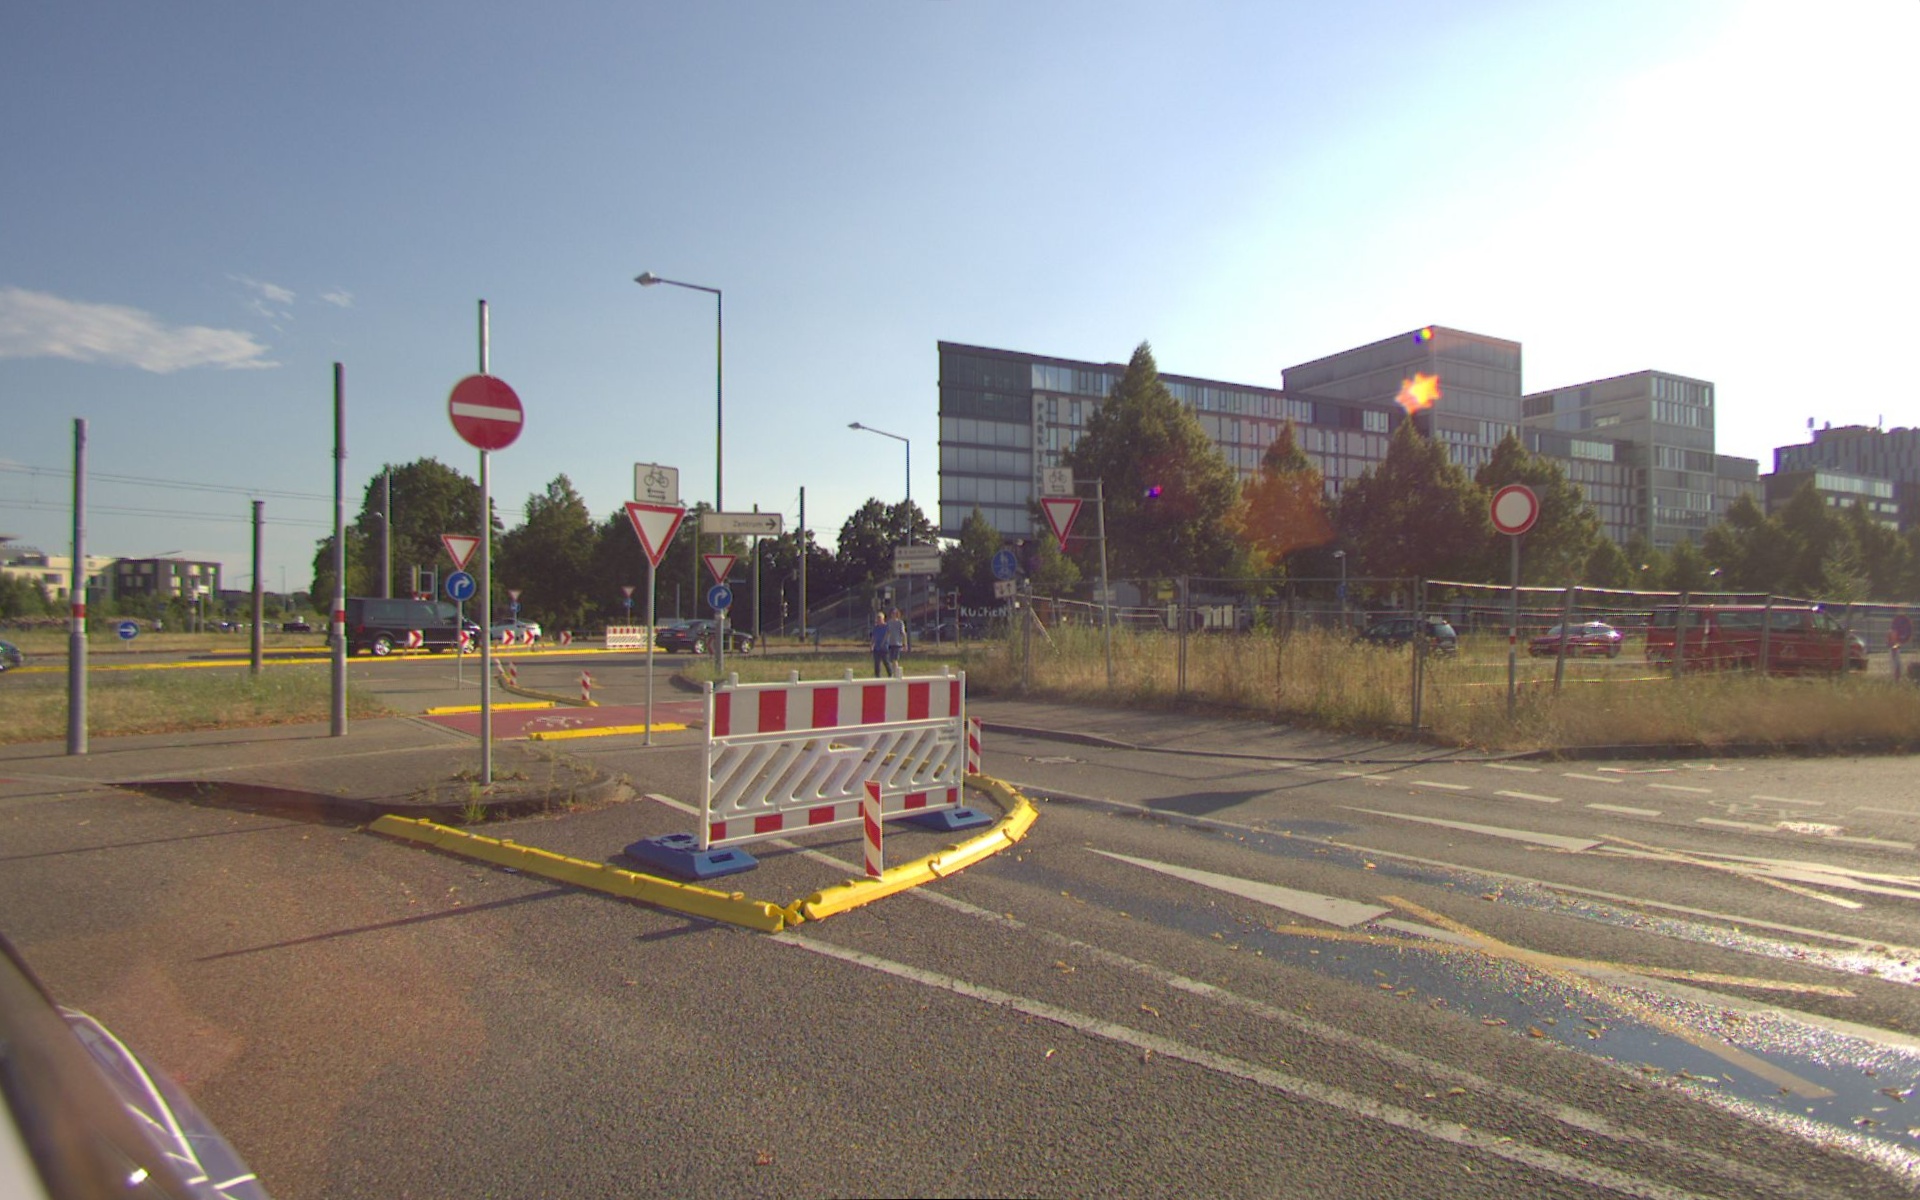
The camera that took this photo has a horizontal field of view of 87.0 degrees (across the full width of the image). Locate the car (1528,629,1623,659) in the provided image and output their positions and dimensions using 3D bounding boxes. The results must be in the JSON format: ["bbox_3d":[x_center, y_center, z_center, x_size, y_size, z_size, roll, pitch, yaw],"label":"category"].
[{"bbox_3d":[25.737,1.810,42.305,3.867,1.175,1.336,0,-1,-23],"label":"car"}]

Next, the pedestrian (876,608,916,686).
[{"bbox_3d":[-1.499,1.090,23.731,0.752,1.789,0.768,-1,-2,14],"label":"pedestrian"}]

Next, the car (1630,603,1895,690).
[{"bbox_3d":[19.872,1.125,25.181,5.230,2.029,2.003,0,-2,-7],"label":"car"}]

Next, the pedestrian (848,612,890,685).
[{"bbox_3d":[-2.177,1.155,24.247,0.778,1.722,0.809,-1,-2,14],"label":"pedestrian"}]

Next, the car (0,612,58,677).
[{"bbox_3d":[-22.892,0.998,22.359,4.317,1.447,1.814,0,-1,-39],"label":"car"}]

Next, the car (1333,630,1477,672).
[{"bbox_3d":[15.798,1.777,36.066,1.970,1.373,4.248,1,-2,-44],"label":"car"}]

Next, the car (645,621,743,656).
[{"bbox_3d":[-11.355,1.613,43.568,1.829,1.417,4.670,-1,-1,19],"label":"car"}]

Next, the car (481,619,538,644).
[{"bbox_3d":[-30.400,2.120,68.241,3.996,1.587,1.974,-1,-2,40],"label":"car"}]

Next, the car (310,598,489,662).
[{"bbox_3d":[-19.556,1.022,35.602,2.087,2.063,5.188,-1,-1,31],"label":"car"}]

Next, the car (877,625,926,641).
[{"bbox_3d":[-4.587,2.580,79.172,3.442,1.249,1.664,0,-1,-24],"label":"car"}]
